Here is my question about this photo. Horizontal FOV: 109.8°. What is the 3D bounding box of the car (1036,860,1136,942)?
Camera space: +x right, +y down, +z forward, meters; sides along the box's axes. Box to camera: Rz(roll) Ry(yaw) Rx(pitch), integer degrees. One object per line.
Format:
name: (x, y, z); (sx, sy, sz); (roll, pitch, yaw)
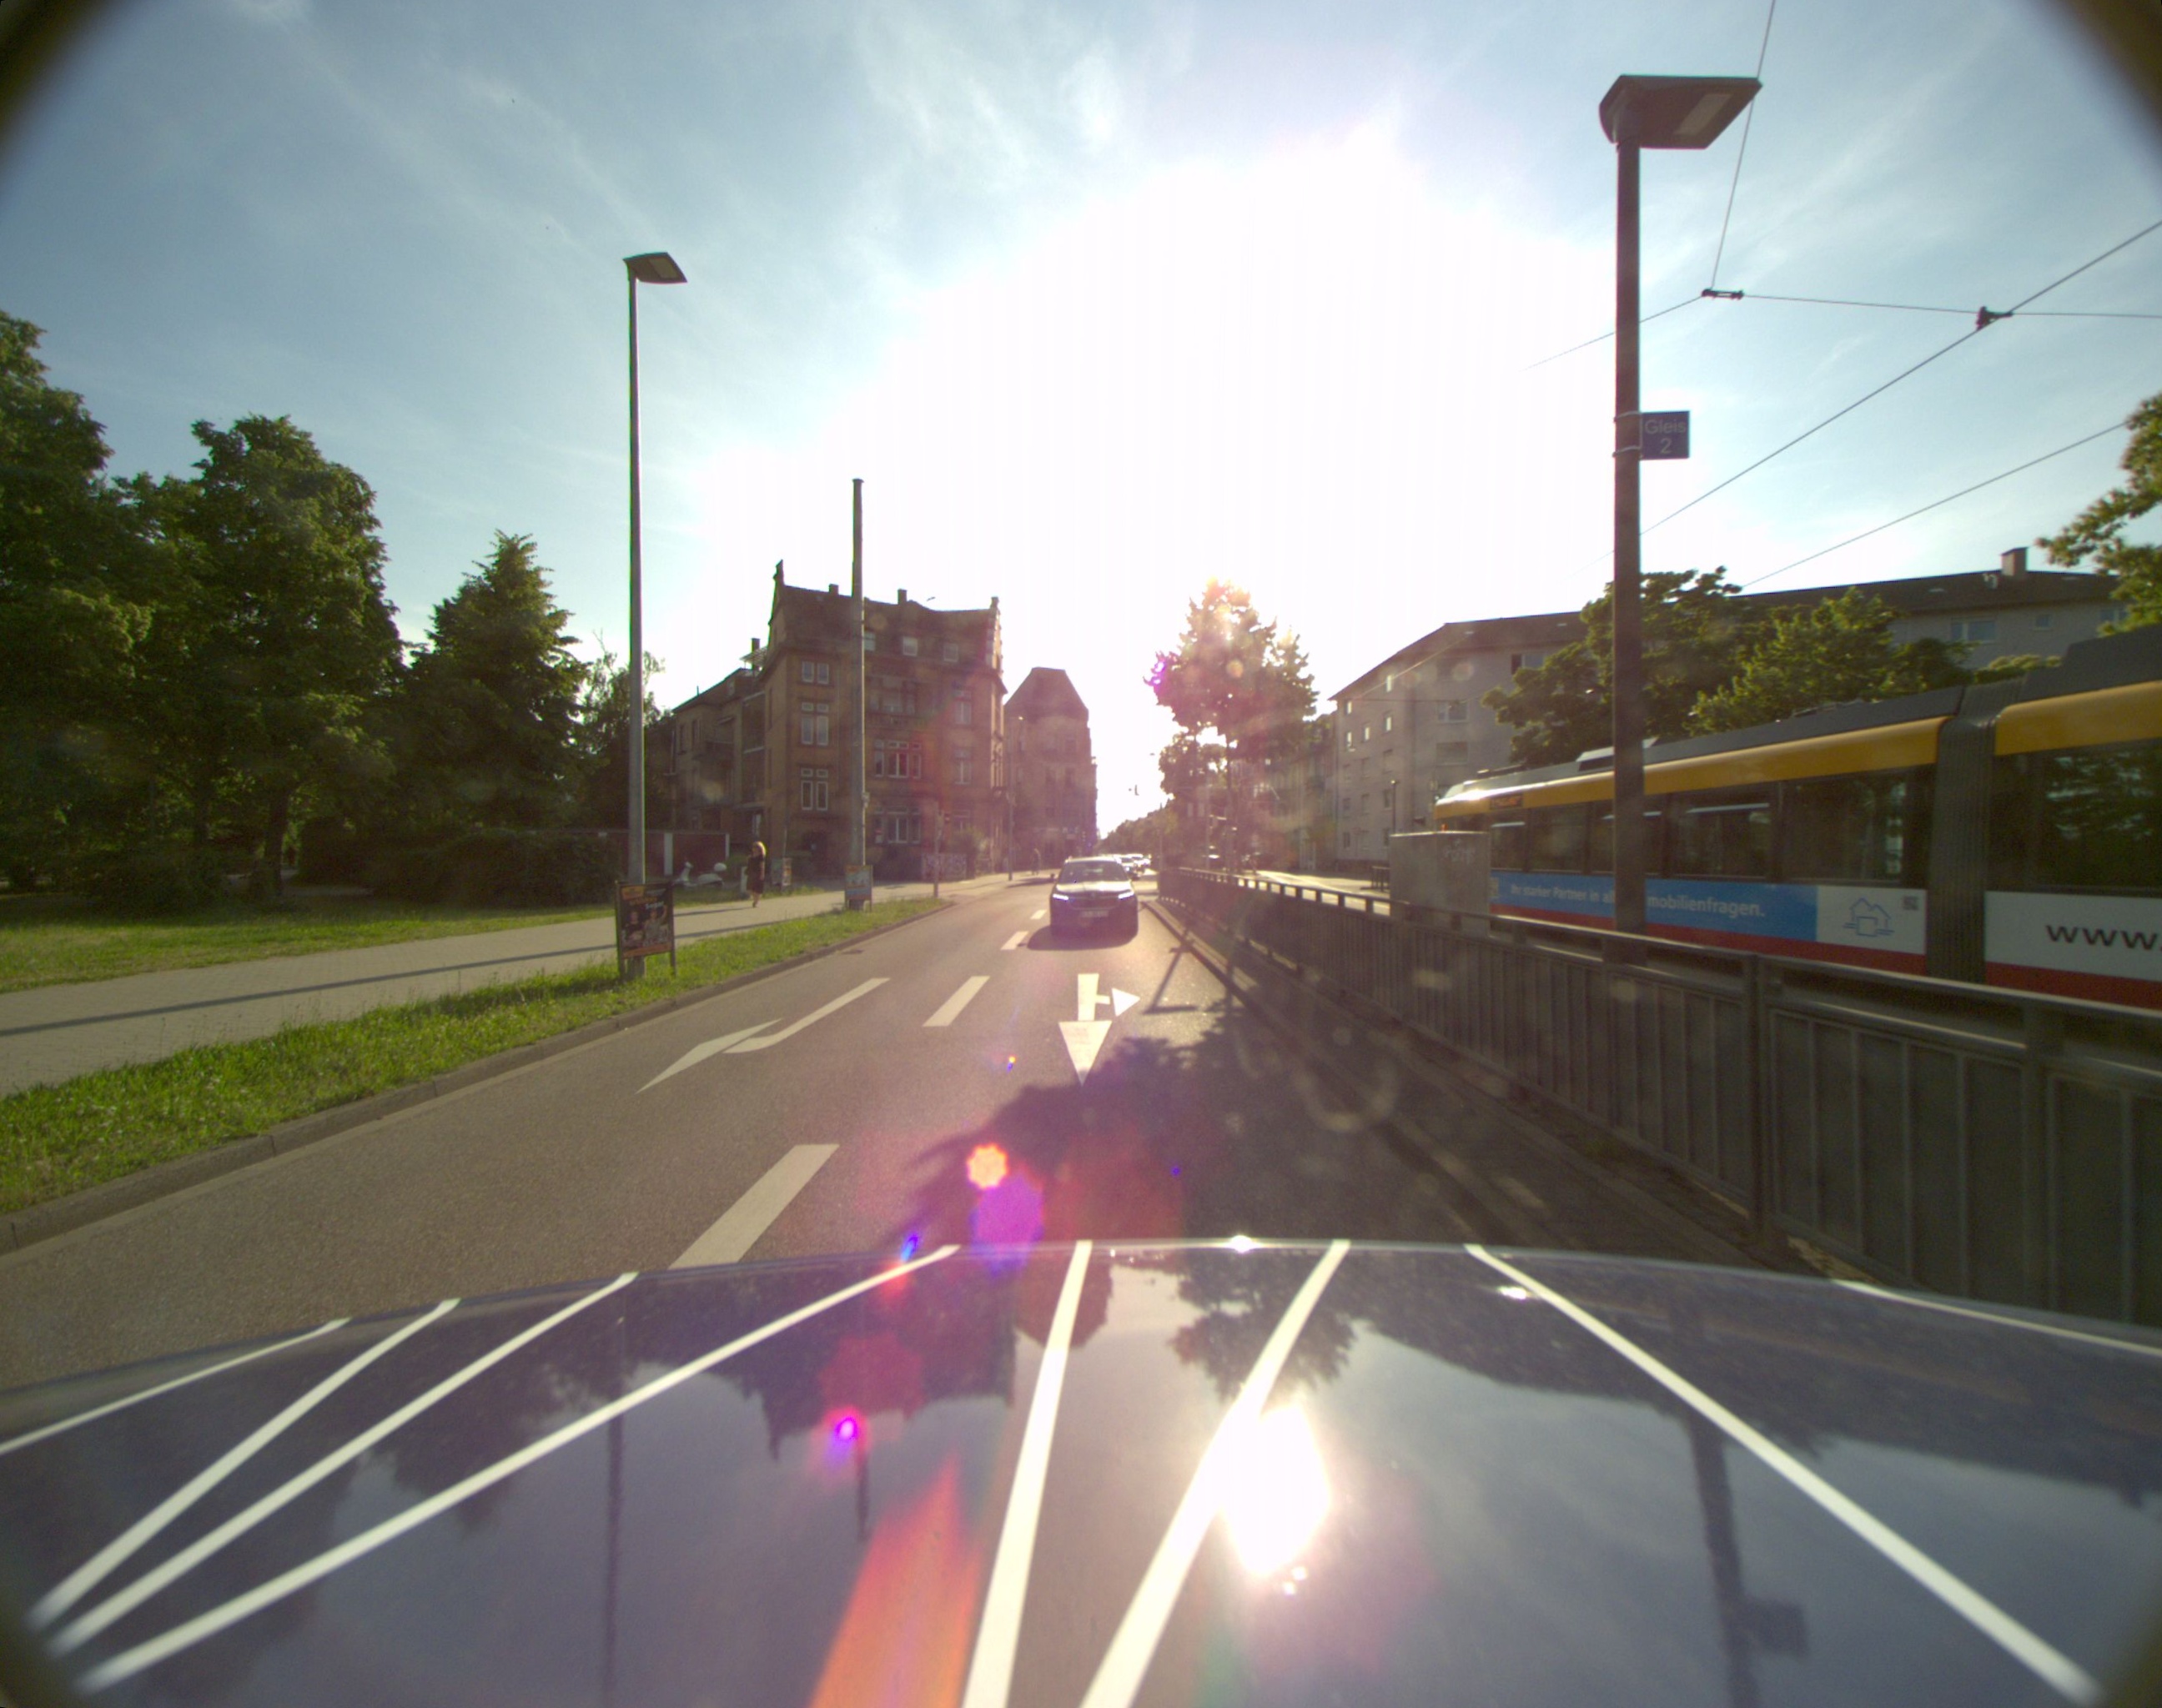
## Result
car: (0.211, 0.884, 15.996); (1.839, 1.472, 4.001); (0, 0, 3)

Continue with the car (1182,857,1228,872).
car: (11.782, 0.966, 72.104); (3.941, 1.352, 1.676); (1, 1, 36)

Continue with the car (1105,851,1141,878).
car: (2.657, 0.622, 47.466); (1.997, 1.565, 4.002); (-1, 0, 6)

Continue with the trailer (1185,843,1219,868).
trailer: (11.990, 0.140, 75.467); (2.858, 2.378, 1.726); (0, 0, 33)

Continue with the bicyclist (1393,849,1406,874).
bicyclist: (21.326, 0.480, 50.870); (0.771, 1.633, 0.796); (1, 1, 22)

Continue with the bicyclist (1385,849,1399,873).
bicyclist: (21.233, 0.475, 51.871); (0.851, 1.632, 0.815); (0, 0, 22)

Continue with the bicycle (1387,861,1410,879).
bicycle: (18.103, 0.901, 43.364); (0.543, 1.012, 2.251); (-1, 0, 5)

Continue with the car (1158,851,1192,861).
car: (13.229, 0.269, 107.384); (4.259, 1.414, 2.177); (-1, 0, 43)

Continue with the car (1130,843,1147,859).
car: (7.315, -0.381, 97.114); (1.998, 2.002, 4.000); (0, 1, 1)

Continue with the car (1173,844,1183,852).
car: (22.774, -1.423, 178.357); (1.998, 2.002, 4.001); (-1, 0, 5)

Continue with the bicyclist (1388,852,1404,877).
bicyclist: (18.046, 0.599, 43.509); (0.652, 1.405, 0.717); (-1, 0, 4)

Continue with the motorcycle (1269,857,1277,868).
motorcycle: (19.426, 0.814, 76.852); (0.636, 1.074, 1.735); (-1, 0, 11)

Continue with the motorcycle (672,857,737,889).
motorcycle: (-13.801, 0.687, 27.916); (2.002, 1.153, 0.708); (-1, 0, -4)

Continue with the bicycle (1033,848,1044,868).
bicycle: (-2.816, 0.286, 50.125); (0.575, 1.290, 0.687); (-1, 1, -13)

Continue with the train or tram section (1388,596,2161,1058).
train or tram section: (9.711, -0.218, 12.950); (3.169, 3.459, 14.532); (-1, 0, 0)

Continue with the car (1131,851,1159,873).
car: (4.836, 0.572, 56.702); (1.997, 1.565, 4.002); (-1, 0, 6)

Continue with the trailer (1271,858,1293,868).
trailer: (19.636, 0.874, 74.298); (1.444, 0.891, 2.879); (-5, 0, 1)

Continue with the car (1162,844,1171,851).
car: (22.739, -1.688, 201.945); (1.998, 2.002, 4.000); (-1, 0, 1)

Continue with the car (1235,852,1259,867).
car: (20.172, 0.621, 92.695); (2.170, 1.740, 4.611); (-1, 0, 4)

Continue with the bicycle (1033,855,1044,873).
bicycle: (-2.804, 0.647, 50.091); (0.485, 1.183, 1.337); (-1, 0, -14)

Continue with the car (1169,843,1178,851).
car: (23.020, -1.720, 189.621); (1.998, 2.002, 4.001); (-1, 0, 5)

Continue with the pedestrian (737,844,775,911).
pedestrian: (-8.514, 0.616, 19.915); (0.616, 1.682, 0.549); (5, 1, 5)

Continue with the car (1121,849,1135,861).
car: (7.469, 0.155, 121.506); (1.998, 2.002, 4.000); (0, 1, 1)

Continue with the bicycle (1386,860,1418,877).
bicycle: (21.481, 0.957, 50.859); (1.912, 1.104, 0.736); (1, 1, 22)

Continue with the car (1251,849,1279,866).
car: (19.537, 0.406, 80.852); (2.170, 1.740, 4.719); (-1, 0, 4)

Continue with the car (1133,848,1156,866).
car: (6.321, 0.266, 76.308); (1.998, 1.772, 4.000); (0, 0, 1)

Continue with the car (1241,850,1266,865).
car: (19.826, 0.401, 87.501); (2.170, 1.740, 4.611); (-1, 0, 4)

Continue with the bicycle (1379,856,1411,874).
bicycle: (21.400, 0.750, 51.821); (1.976, 1.196, 0.736); (-1, 0, 22)
